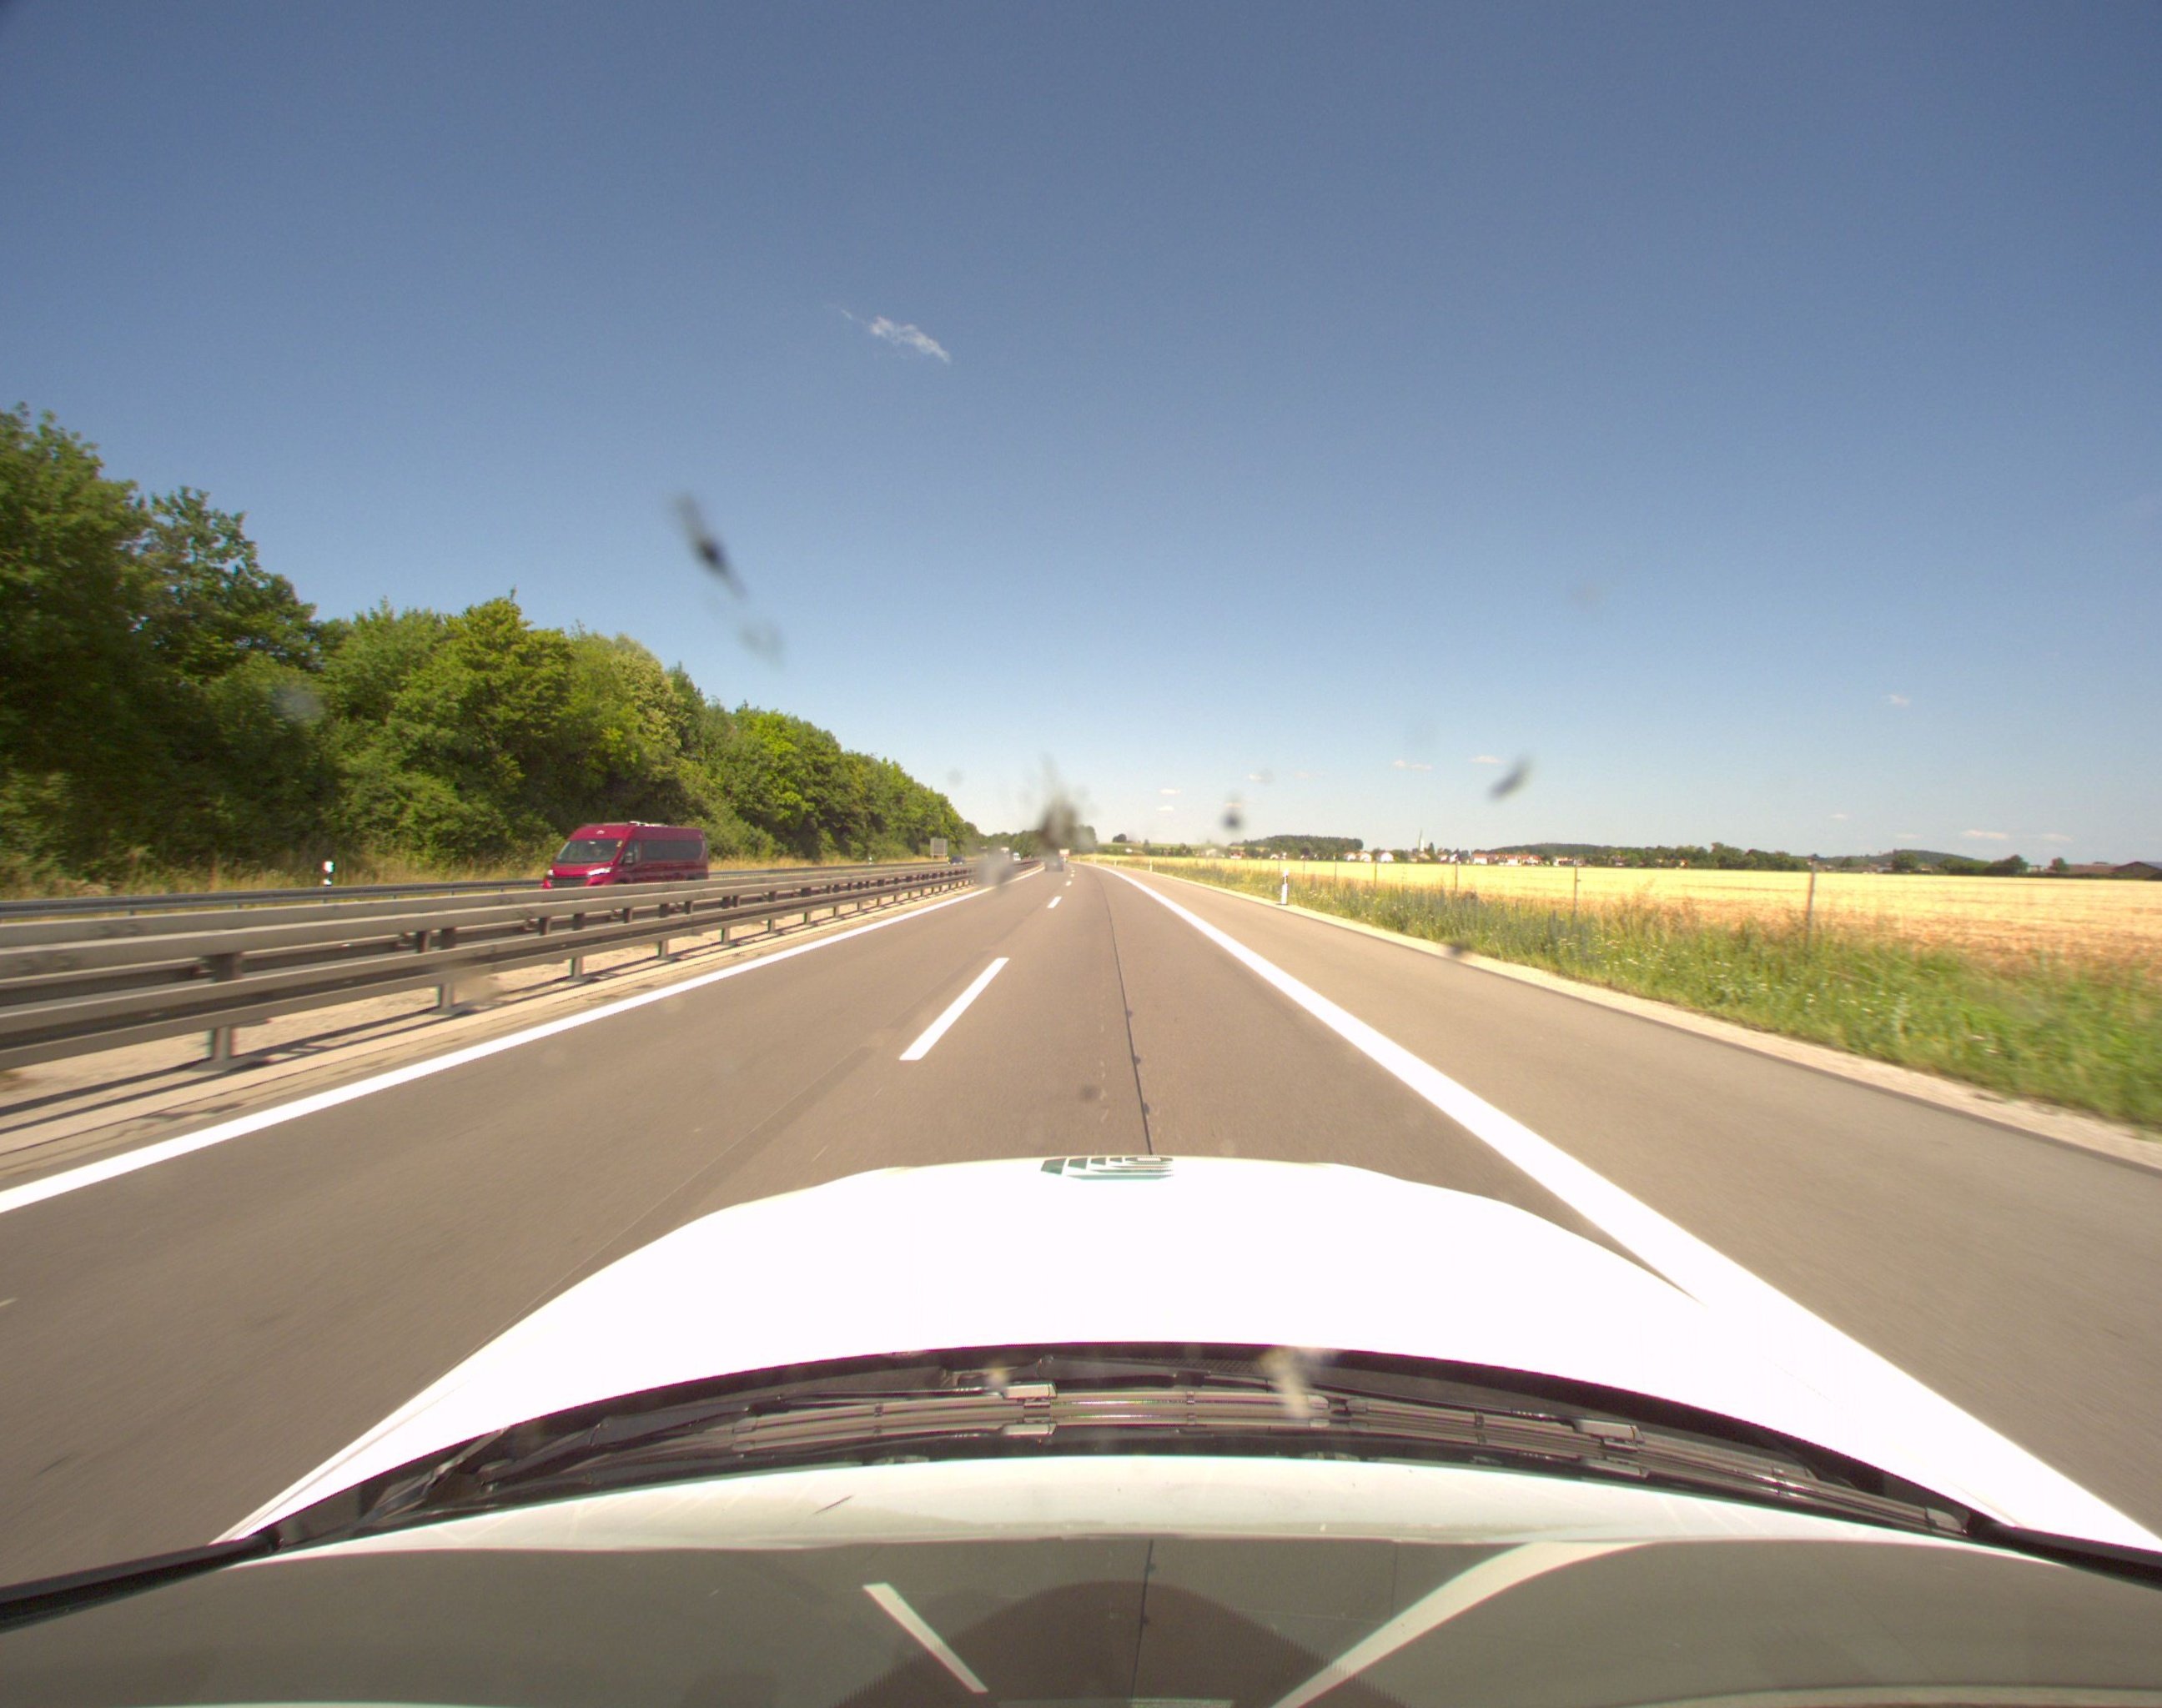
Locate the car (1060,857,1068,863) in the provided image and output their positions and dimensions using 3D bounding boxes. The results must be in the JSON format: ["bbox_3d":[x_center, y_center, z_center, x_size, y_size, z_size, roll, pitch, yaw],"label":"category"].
[{"bbox_3d":[-4.230,1.470,202.372,1.672,1.453,3.587,0,0,-4],"label":"car"}]

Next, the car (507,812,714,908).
[{"bbox_3d":[-14.378,0.160,25.628,2.535,2.595,6.594,1,0,1],"label":"car"}]

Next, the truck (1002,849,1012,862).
[{"bbox_3d":[-22.344,0.512,245.126,2.740,3.829,5.904,0,0,-3],"label":"truck"}]

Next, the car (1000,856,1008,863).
[{"bbox_3d":[-17.990,1.274,189.925,1.668,1.437,4.139,0,0,-1],"label":"car"}]

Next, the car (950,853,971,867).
[{"bbox_3d":[-14.273,0.714,96.585,1.805,1.555,4.848,0,0,0],"label":"car"}]

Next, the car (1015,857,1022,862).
[{"bbox_3d":[-17.818,1.559,232.835,1.681,1.483,4.974,0,0,-2],"label":"car"}]

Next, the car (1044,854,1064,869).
[{"bbox_3d":[-2.714,0.734,82.169,1.841,1.432,5.864,0,0,0],"label":"car"}]

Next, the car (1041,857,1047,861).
[{"bbox_3d":[-11.378,1.515,249.001,1.671,1.453,3.589,0,0,-2],"label":"car"}]
